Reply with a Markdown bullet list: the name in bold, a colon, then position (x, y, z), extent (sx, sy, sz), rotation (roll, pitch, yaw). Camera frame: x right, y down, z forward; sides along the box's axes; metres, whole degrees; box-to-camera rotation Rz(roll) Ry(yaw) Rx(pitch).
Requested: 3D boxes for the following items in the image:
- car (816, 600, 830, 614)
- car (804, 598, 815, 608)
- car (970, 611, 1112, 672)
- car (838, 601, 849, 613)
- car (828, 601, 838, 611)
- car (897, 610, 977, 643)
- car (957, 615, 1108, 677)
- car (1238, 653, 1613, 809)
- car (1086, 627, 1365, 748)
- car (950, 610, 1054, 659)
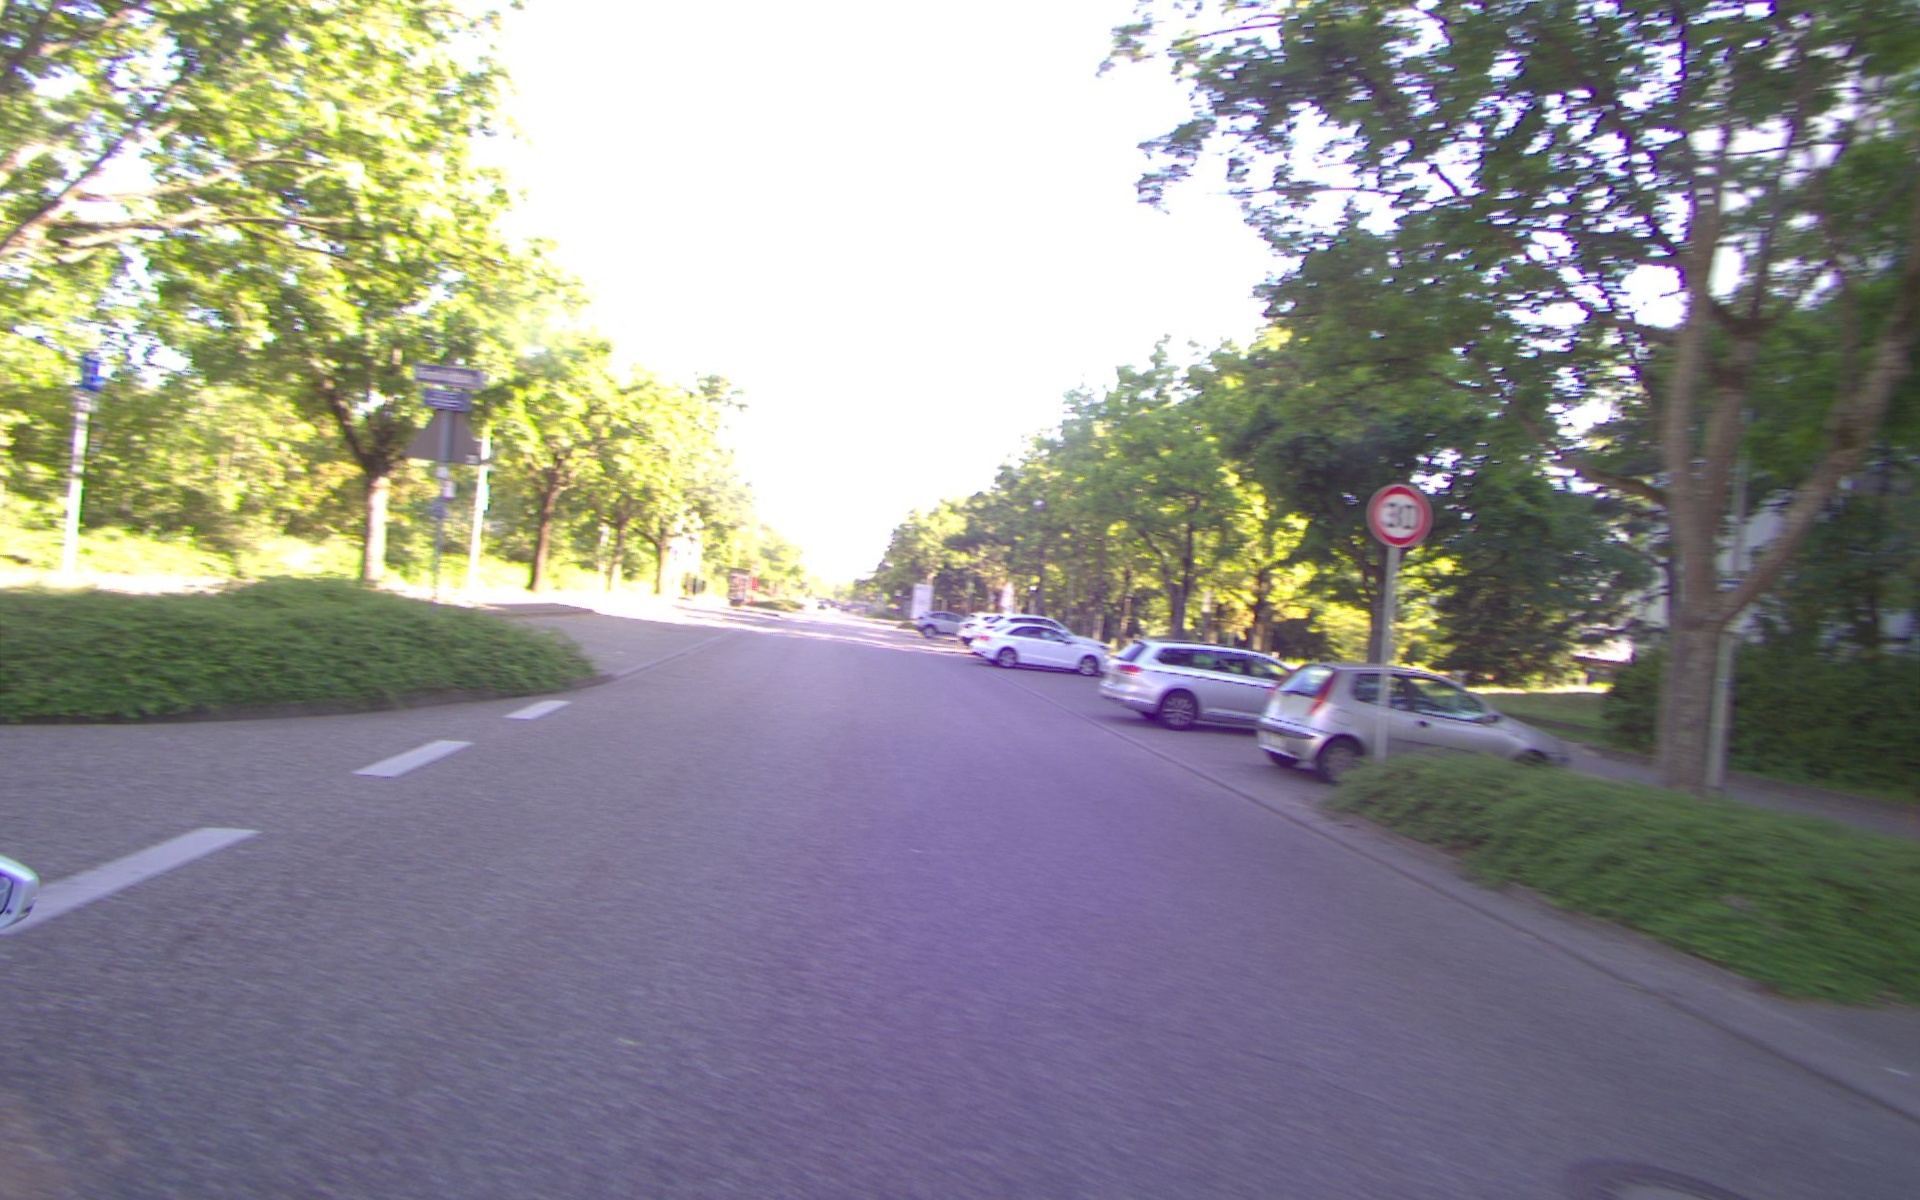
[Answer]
- **car**: position (-20.090, 0.959, 147.810), extent (1.803, 1.796, 3.736), rotation (8, -1, -7)
- **car**: position (-30.998, 0.611, 207.843), extent (1.966, 1.823, 3.996), rotation (8, -1, -7)
- **car**: position (2.689, 1.392, 33.966), extent (4.372, 1.669, 1.813), rotation (4, 1, -9)
- **car**: position (-22.062, 1.363, 190.454), extent (1.966, 2.037, 3.996), rotation (8, -1, -7)
- **car**: position (-29.934, 1.447, 236.924), extent (1.965, 2.037, 3.997), rotation (8, -1, -5)
- **car**: position (-1.295, 1.449, 55.267), extent (4.104, 1.446, 1.998), rotation (4, 0, -8)
- **car**: position (2.204, 1.415, 31.181), extent (4.281, 1.508, 1.735), rotation (5, 0, -9)
- **car**: position (5.804, 1.620, 12.786), extent (3.929, 1.469, 1.715), rotation (5, 0, -7)
- **car**: position (4.501, 1.471, 17.464), extent (4.211, 1.445, 1.827), rotation (7, -1, -3)
- **car**: position (1.574, 1.315, 38.580), extent (3.636, 1.542, 1.647), rotation (5, 0, -9)
